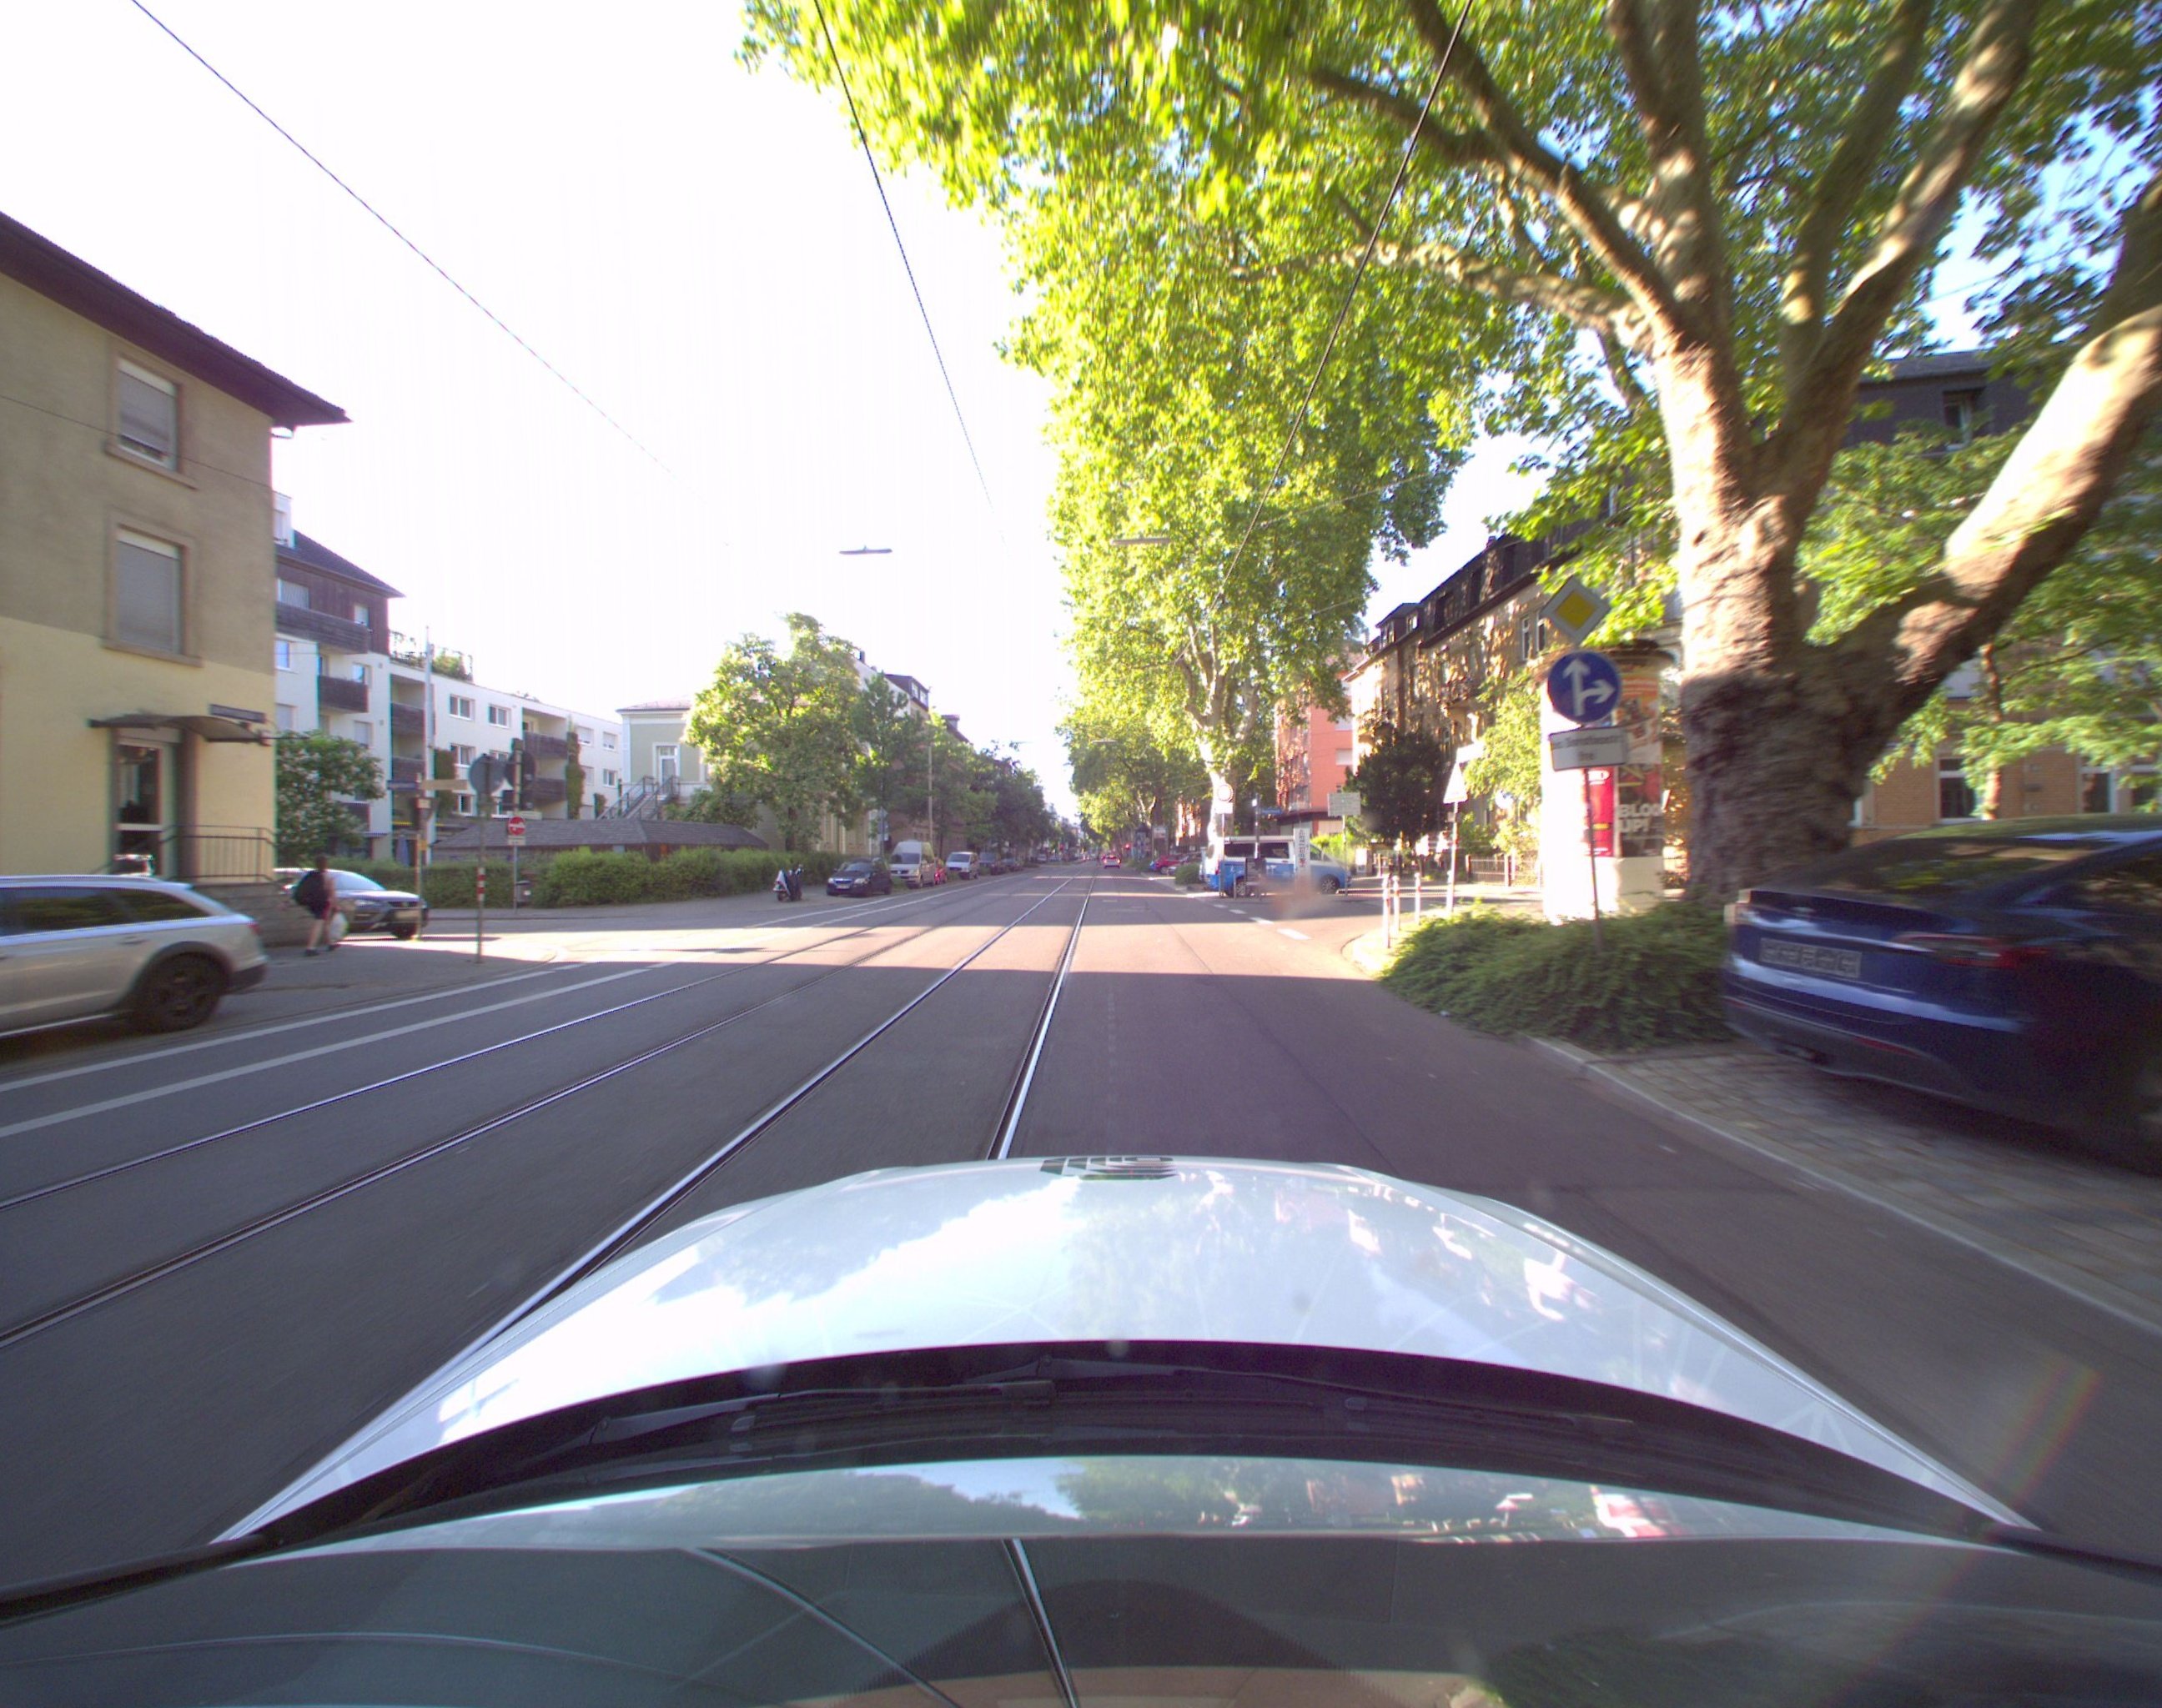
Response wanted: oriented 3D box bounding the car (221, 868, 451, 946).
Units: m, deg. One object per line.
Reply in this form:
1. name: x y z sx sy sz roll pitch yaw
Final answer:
1. car: -16.213 1.128 17.814 3.656 1.559 1.814 -1 0 9

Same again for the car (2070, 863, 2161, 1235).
1. car: 5.800 0.700 2.313 3.636 1.378 1.890 -1 0 1

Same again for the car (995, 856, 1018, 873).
1. car: -8.001 1.095 87.776 1.986 1.745 4.660 -1 0 1

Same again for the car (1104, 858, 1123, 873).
1. car: 3.555 1.241 89.304 1.911 1.584 3.792 -2 0 1

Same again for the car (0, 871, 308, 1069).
1. car: -9.369 0.937 6.356 1.830 1.468 5.068 1 0 -1

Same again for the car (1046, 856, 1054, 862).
1. car: -7.238 1.159 190.036 1.912 1.419 3.589 -1 0 -1

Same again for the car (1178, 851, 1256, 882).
1. car: 7.470 0.695 45.004 3.972 1.609 2.001 -1 0 1

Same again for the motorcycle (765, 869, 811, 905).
1. motorcycle: -10.560 1.170 29.428 0.760 1.107 2.331 0 2 1

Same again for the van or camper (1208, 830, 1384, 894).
1. van or camper: 7.402 0.223 28.431 5.543 2.013 2.242 -1 2 -4

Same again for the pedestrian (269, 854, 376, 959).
1. pedestrian: -11.983 0.797 12.894 0.784 1.592 0.942 -1 0 1

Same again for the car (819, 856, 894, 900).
1. car: -9.132 0.937 33.523 1.781 1.587 4.344 2 0 0

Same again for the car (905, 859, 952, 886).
1. car: -8.964 1.067 48.124 1.870 1.460 4.208 -1 0 1

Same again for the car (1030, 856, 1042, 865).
1. car: -7.506 1.092 135.642 1.912 1.419 3.719 -1 0 -1

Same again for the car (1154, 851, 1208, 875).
1. car: 7.684 0.708 63.085 3.972 1.784 2.001 -1 0 1

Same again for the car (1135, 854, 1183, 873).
1. car: 6.764 0.825 70.955 3.972 1.521 2.001 -1 0 1

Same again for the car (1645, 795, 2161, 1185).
1. car: 5.769 0.562 4.539 3.912 1.670 1.960 -1 0 -1

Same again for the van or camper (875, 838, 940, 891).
1. van or camper: -9.005 0.524 42.761 2.071 2.533 5.319 -1 0 1

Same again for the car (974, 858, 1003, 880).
1. car: -8.136 1.310 71.846 1.986 1.861 4.180 -1 0 1

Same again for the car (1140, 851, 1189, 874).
1. car: 7.014 0.697 68.644 3.972 1.784 2.001 -1 0 1

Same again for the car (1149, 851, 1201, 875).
1. car: 7.524 0.718 65.372 3.972 1.784 2.001 -1 0 1

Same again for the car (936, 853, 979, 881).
1. car: -8.660 0.880 57.436 2.165 1.861 4.660 -1 0 1

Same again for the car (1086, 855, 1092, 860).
1. car: 2.290 1.058 242.026 1.630 1.419 3.589 -1 0 -1

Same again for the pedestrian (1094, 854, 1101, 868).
1. pedestrian: 2.555 1.081 124.959 1.043 2.013 1.083 -1 0 4

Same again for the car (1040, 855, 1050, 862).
1. car: -7.561 1.020 172.646 1.913 1.419 3.588 -3 -1 -2
